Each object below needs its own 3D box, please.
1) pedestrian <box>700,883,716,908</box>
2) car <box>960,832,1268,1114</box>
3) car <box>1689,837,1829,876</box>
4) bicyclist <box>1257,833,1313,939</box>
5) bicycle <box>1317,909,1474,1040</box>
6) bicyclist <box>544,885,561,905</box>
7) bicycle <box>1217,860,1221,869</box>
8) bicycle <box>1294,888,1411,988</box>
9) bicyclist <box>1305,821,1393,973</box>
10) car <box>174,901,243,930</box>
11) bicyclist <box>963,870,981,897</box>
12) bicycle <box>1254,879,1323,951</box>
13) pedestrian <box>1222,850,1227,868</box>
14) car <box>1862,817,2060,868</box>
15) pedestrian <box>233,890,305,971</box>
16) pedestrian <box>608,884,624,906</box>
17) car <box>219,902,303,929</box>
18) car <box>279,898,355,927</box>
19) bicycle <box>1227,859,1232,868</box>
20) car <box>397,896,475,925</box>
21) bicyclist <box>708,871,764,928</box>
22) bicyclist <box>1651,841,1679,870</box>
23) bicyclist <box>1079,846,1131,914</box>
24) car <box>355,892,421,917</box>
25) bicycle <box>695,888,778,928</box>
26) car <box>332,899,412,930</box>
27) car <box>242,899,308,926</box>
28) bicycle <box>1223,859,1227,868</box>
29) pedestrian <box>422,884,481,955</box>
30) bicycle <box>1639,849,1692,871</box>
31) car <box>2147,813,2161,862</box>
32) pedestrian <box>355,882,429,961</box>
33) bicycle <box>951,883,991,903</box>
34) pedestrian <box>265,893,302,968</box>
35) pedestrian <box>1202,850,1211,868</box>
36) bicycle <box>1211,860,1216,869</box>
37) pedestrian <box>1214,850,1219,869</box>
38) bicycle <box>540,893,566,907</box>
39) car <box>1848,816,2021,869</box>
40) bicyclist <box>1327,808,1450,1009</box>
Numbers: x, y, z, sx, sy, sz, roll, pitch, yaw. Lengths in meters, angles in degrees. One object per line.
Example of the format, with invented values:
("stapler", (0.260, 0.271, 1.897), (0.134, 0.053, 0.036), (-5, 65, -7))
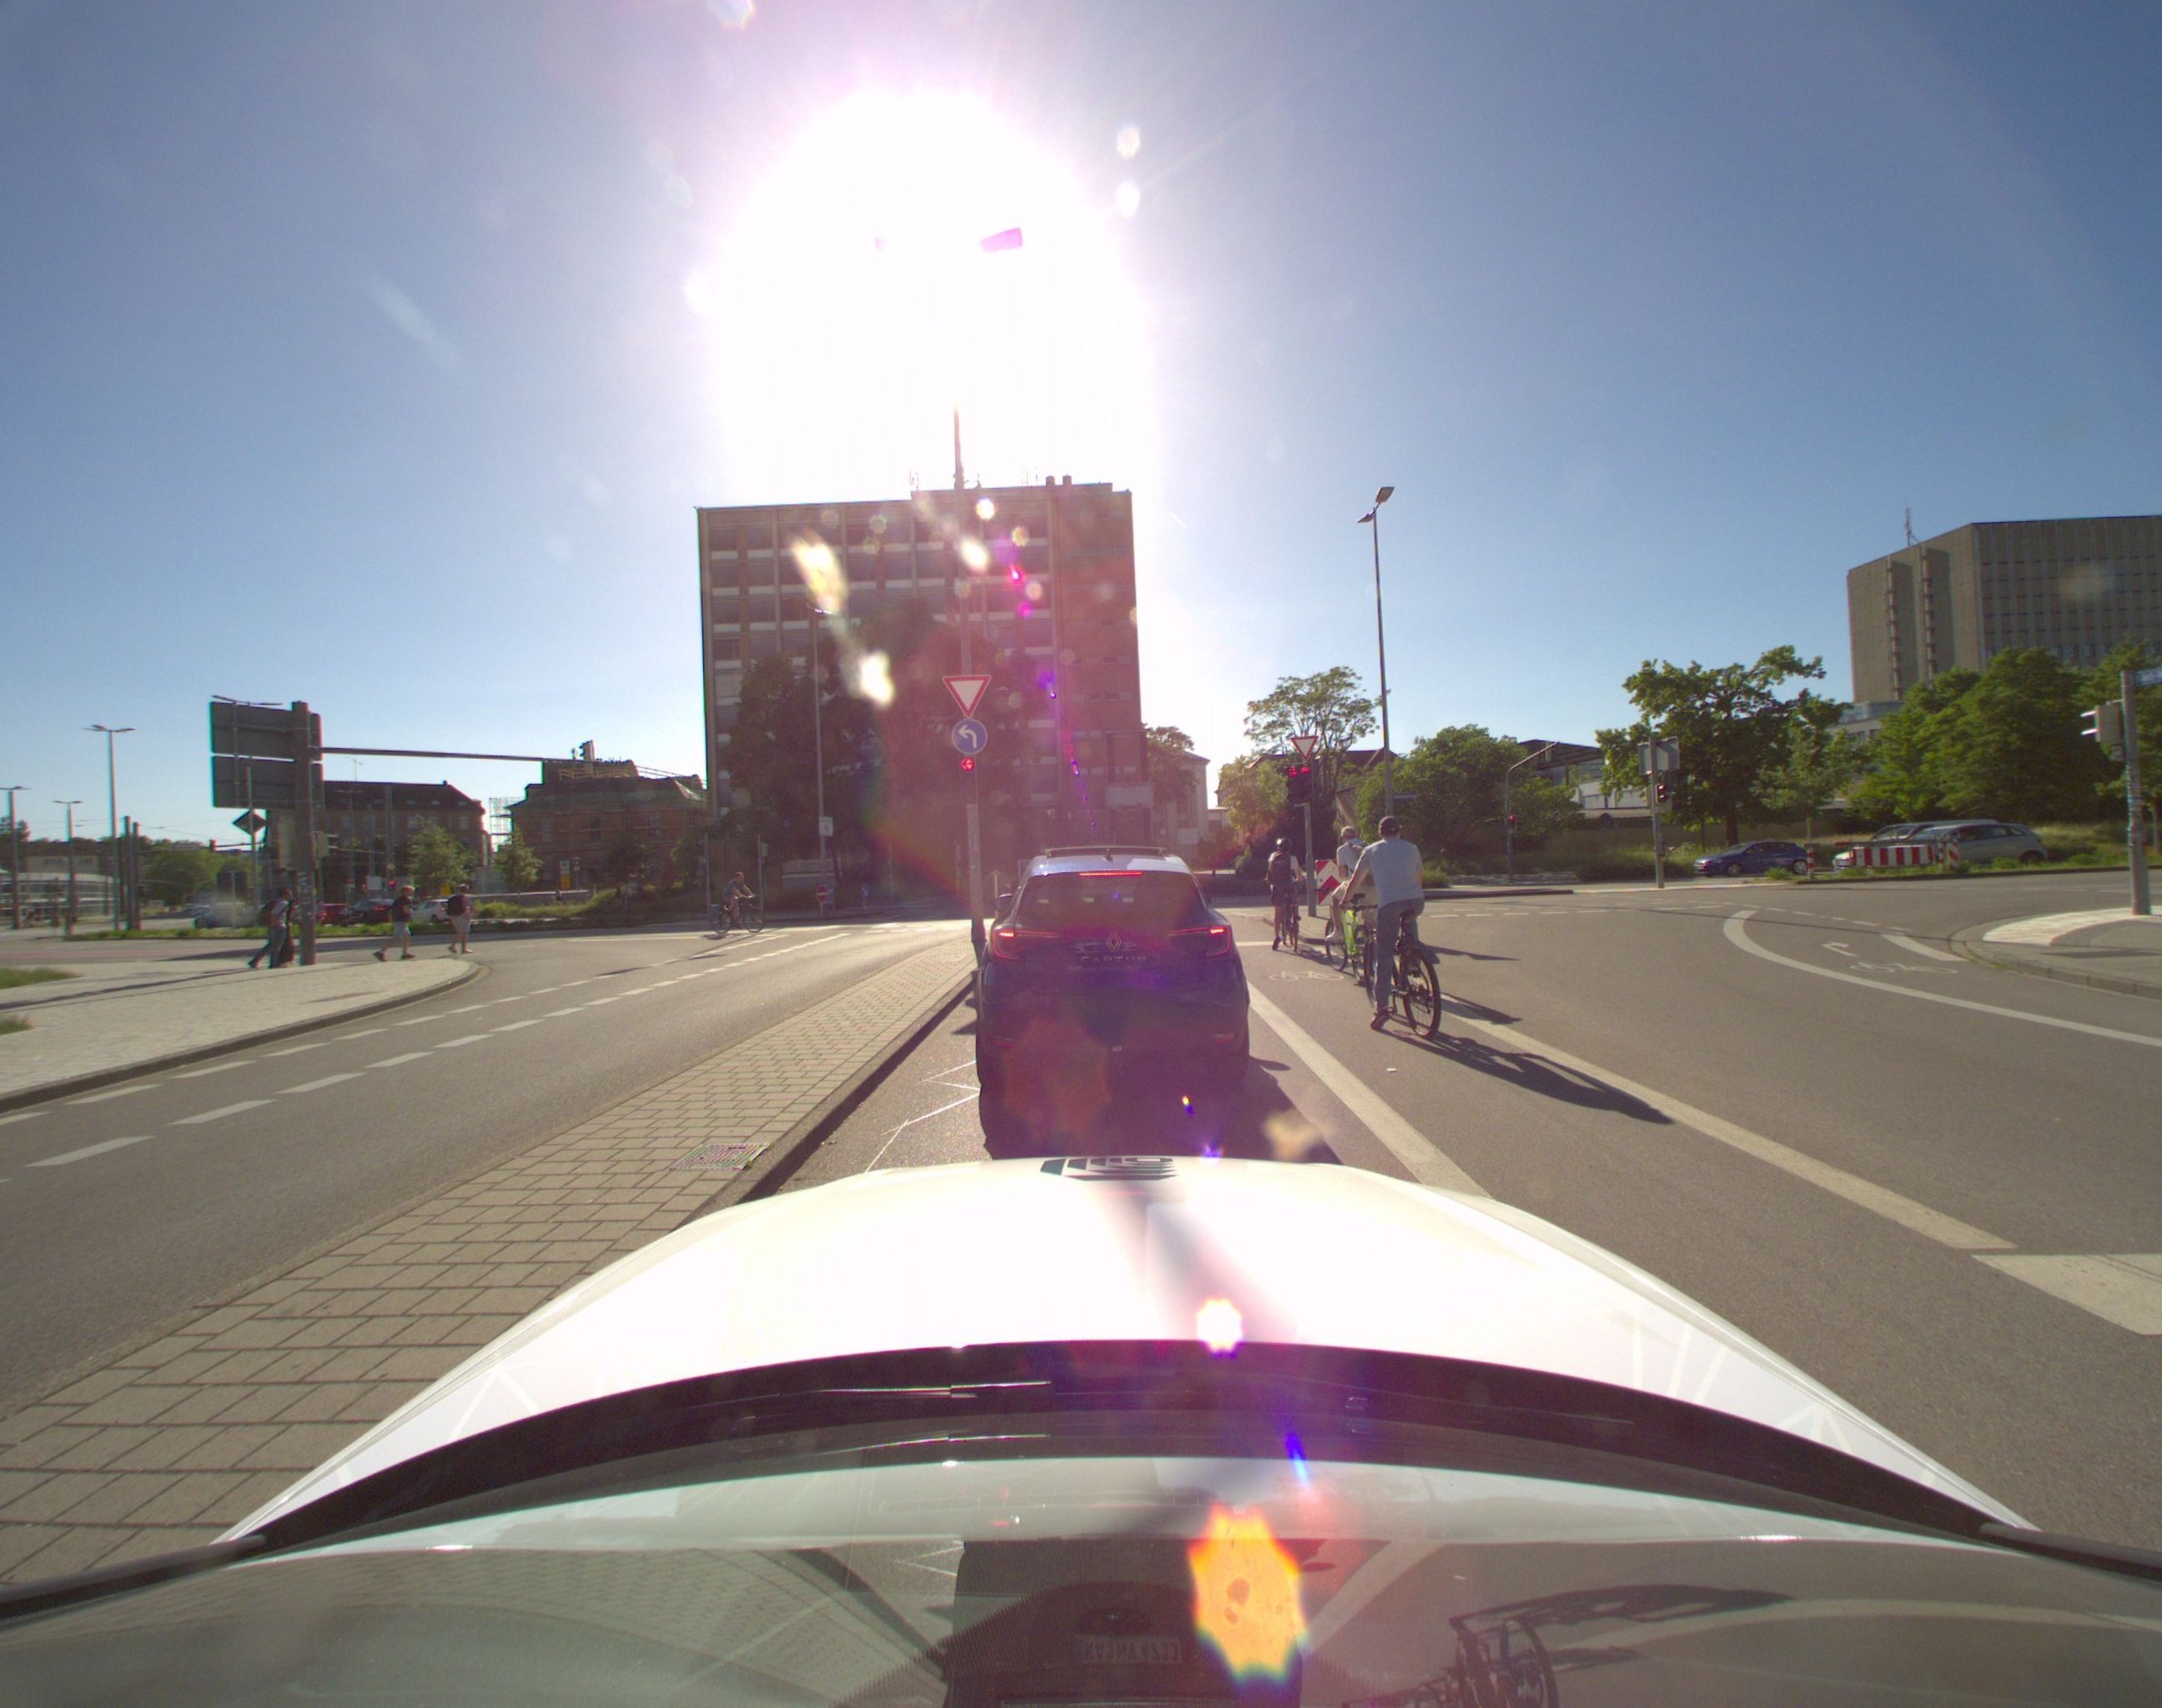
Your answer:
("pedestrian", (-25.214, 2.797, 55.024), (0.730, 1.603, 0.602), (-3, -1, 24))
("car", (0.205, 0.708, 6.804), (1.798, 1.632, 3.999), (-1, 0, 0))
("car", (28.219, 0.101, 34.010), (4.140, 1.435, 1.747), (-2, -1, 8))
("bicyclist", (3.240, 0.500, 12.989), (0.722, 1.629, 0.970), (0, -1, 6))
("bicycle", (2.722, 1.000, 7.298), (0.737, 0.896, 1.980), (0, -1, 3))
("bicyclist", (-39.475, 3.060, 60.856), (0.928, 1.429, 0.602), (-3, -1, 26))
("bicycle", (15.877, 1.226, 93.824), (0.403, 0.973, 1.686), (0, -1, 6))
("bicycle", (3.216, 0.955, 9.854), (0.657, 1.003, 1.967), (0, -1, -4))
("bicyclist", (3.217, 0.494, 9.852), (0.644, 1.739, 1.065), (0, -1, -4))
("car", (-55.159, 3.907, 51.474), (4.331, 1.632, 1.855), (-3, -1, 27))
("bicyclist", (-5.888, 1.597, 44.055), (0.741, 1.441, 0.593), (-2, -1, -25))
("bicycle", (3.249, 0.927, 12.936), (0.735, 0.995, 2.177), (0, -1, 6))
("pedestrian", (16.215, 0.605, 92.185), (0.473, 2.014, 0.469), (-2, -1, 8))
("car", (28.142, -0.359, 26.168), (4.025, 1.408, 1.872), (-2, -1, 8))
("pedestrian", (-18.112, 1.700, 18.186), (0.907, 1.690, 0.832), (-3, -3, -29))
("pedestrian", (-33.674, 2.984, 59.016), (0.852, 1.571, 0.562), (-3, -1, 26))
("car", (-49.012, 3.678, 48.663), (4.841, 1.388, 1.854), (-3, -1, 23))
("car", (-48.457, 3.684, 51.650), (4.334, 1.632, 1.854), (-3, -1, 23))
("bicycle", (17.189, 1.076, 94.175), (0.403, 0.973, 1.686), (0, -1, 6))
("car", (-36.371, 3.188, 45.914), (3.803, 1.435, 1.752), (-2, -1, 21))
("bicyclist", (-9.307, 1.227, 21.998), (1.116, 1.422, 0.689), (-4, -1, 13))
("bicyclist", (28.509, 0.069, 39.752), (0.822, 1.316, 0.697), (-3, 1, 4))
("bicyclist", (0.575, 0.616, 19.244), (1.063, 1.500, 0.743), (-4, -1, 7))
("car", (-50.894, 3.720, 59.792), (4.779, 1.632, 1.855), (-2, -1, 25))
("bicycle", (-9.292, 1.454, 21.988), (1.970, 0.918, 0.690), (-4, -1, 14))
("car", (-42.573, 3.619, 48.901), (4.334, 1.632, 1.854), (-3, -1, 23))
("car", (-53.814, 3.921, 54.376), (4.331, 1.632, 1.855), (-3, -1, 27))
("bicycle", (16.655, 1.080, 94.174), (0.403, 0.973, 1.686), (0, -1, 6))
("pedestrian", (-15.677, 1.622, 20.293), (0.786, 1.690, 0.792), (-5, -3, 17))
("bicycle", (28.475, 0.281, 39.693), (2.073, 0.930, 0.696), (-3, 1, 2))
("car", (36.987, -0.623, 25.351), (4.711, 1.584, 2.002), (-2, -1, 4))
("pedestrian", (-16.643, 1.621, 19.702), (0.697, 1.800, 1.108), (-5, -3, 19))
("bicycle", (-5.926, 2.113, 44.028), (2.016, 0.964, 0.593), (-2, -1, -25))
("pedestrian", (-19.126, 1.811, 19.533), (0.600, 1.729, 0.572), (-2, -1, -45))
("pedestrian", (14.380, 0.523, 93.218), (0.855, 2.014, 0.469), (-2, -1, 7))
("bicycle", (15.259, 1.231, 93.882), (0.403, 0.973, 1.686), (0, -1, 6))
("pedestrian", (15.103, 0.602, 90.859), (0.473, 2.014, 0.524), (-2, -1, 8))
("bicycle", (-39.459, 3.462, 60.851), (2.057, 0.964, 0.602), (-3, -1, 26))
("car", (35.253, -0.440, 33.762), (4.856, 2.107, 2.002), (0, -1, 4))
("bicyclist", (2.714, 0.458, 7.298), (0.748, 1.668, 1.017), (0, -1, 3))
